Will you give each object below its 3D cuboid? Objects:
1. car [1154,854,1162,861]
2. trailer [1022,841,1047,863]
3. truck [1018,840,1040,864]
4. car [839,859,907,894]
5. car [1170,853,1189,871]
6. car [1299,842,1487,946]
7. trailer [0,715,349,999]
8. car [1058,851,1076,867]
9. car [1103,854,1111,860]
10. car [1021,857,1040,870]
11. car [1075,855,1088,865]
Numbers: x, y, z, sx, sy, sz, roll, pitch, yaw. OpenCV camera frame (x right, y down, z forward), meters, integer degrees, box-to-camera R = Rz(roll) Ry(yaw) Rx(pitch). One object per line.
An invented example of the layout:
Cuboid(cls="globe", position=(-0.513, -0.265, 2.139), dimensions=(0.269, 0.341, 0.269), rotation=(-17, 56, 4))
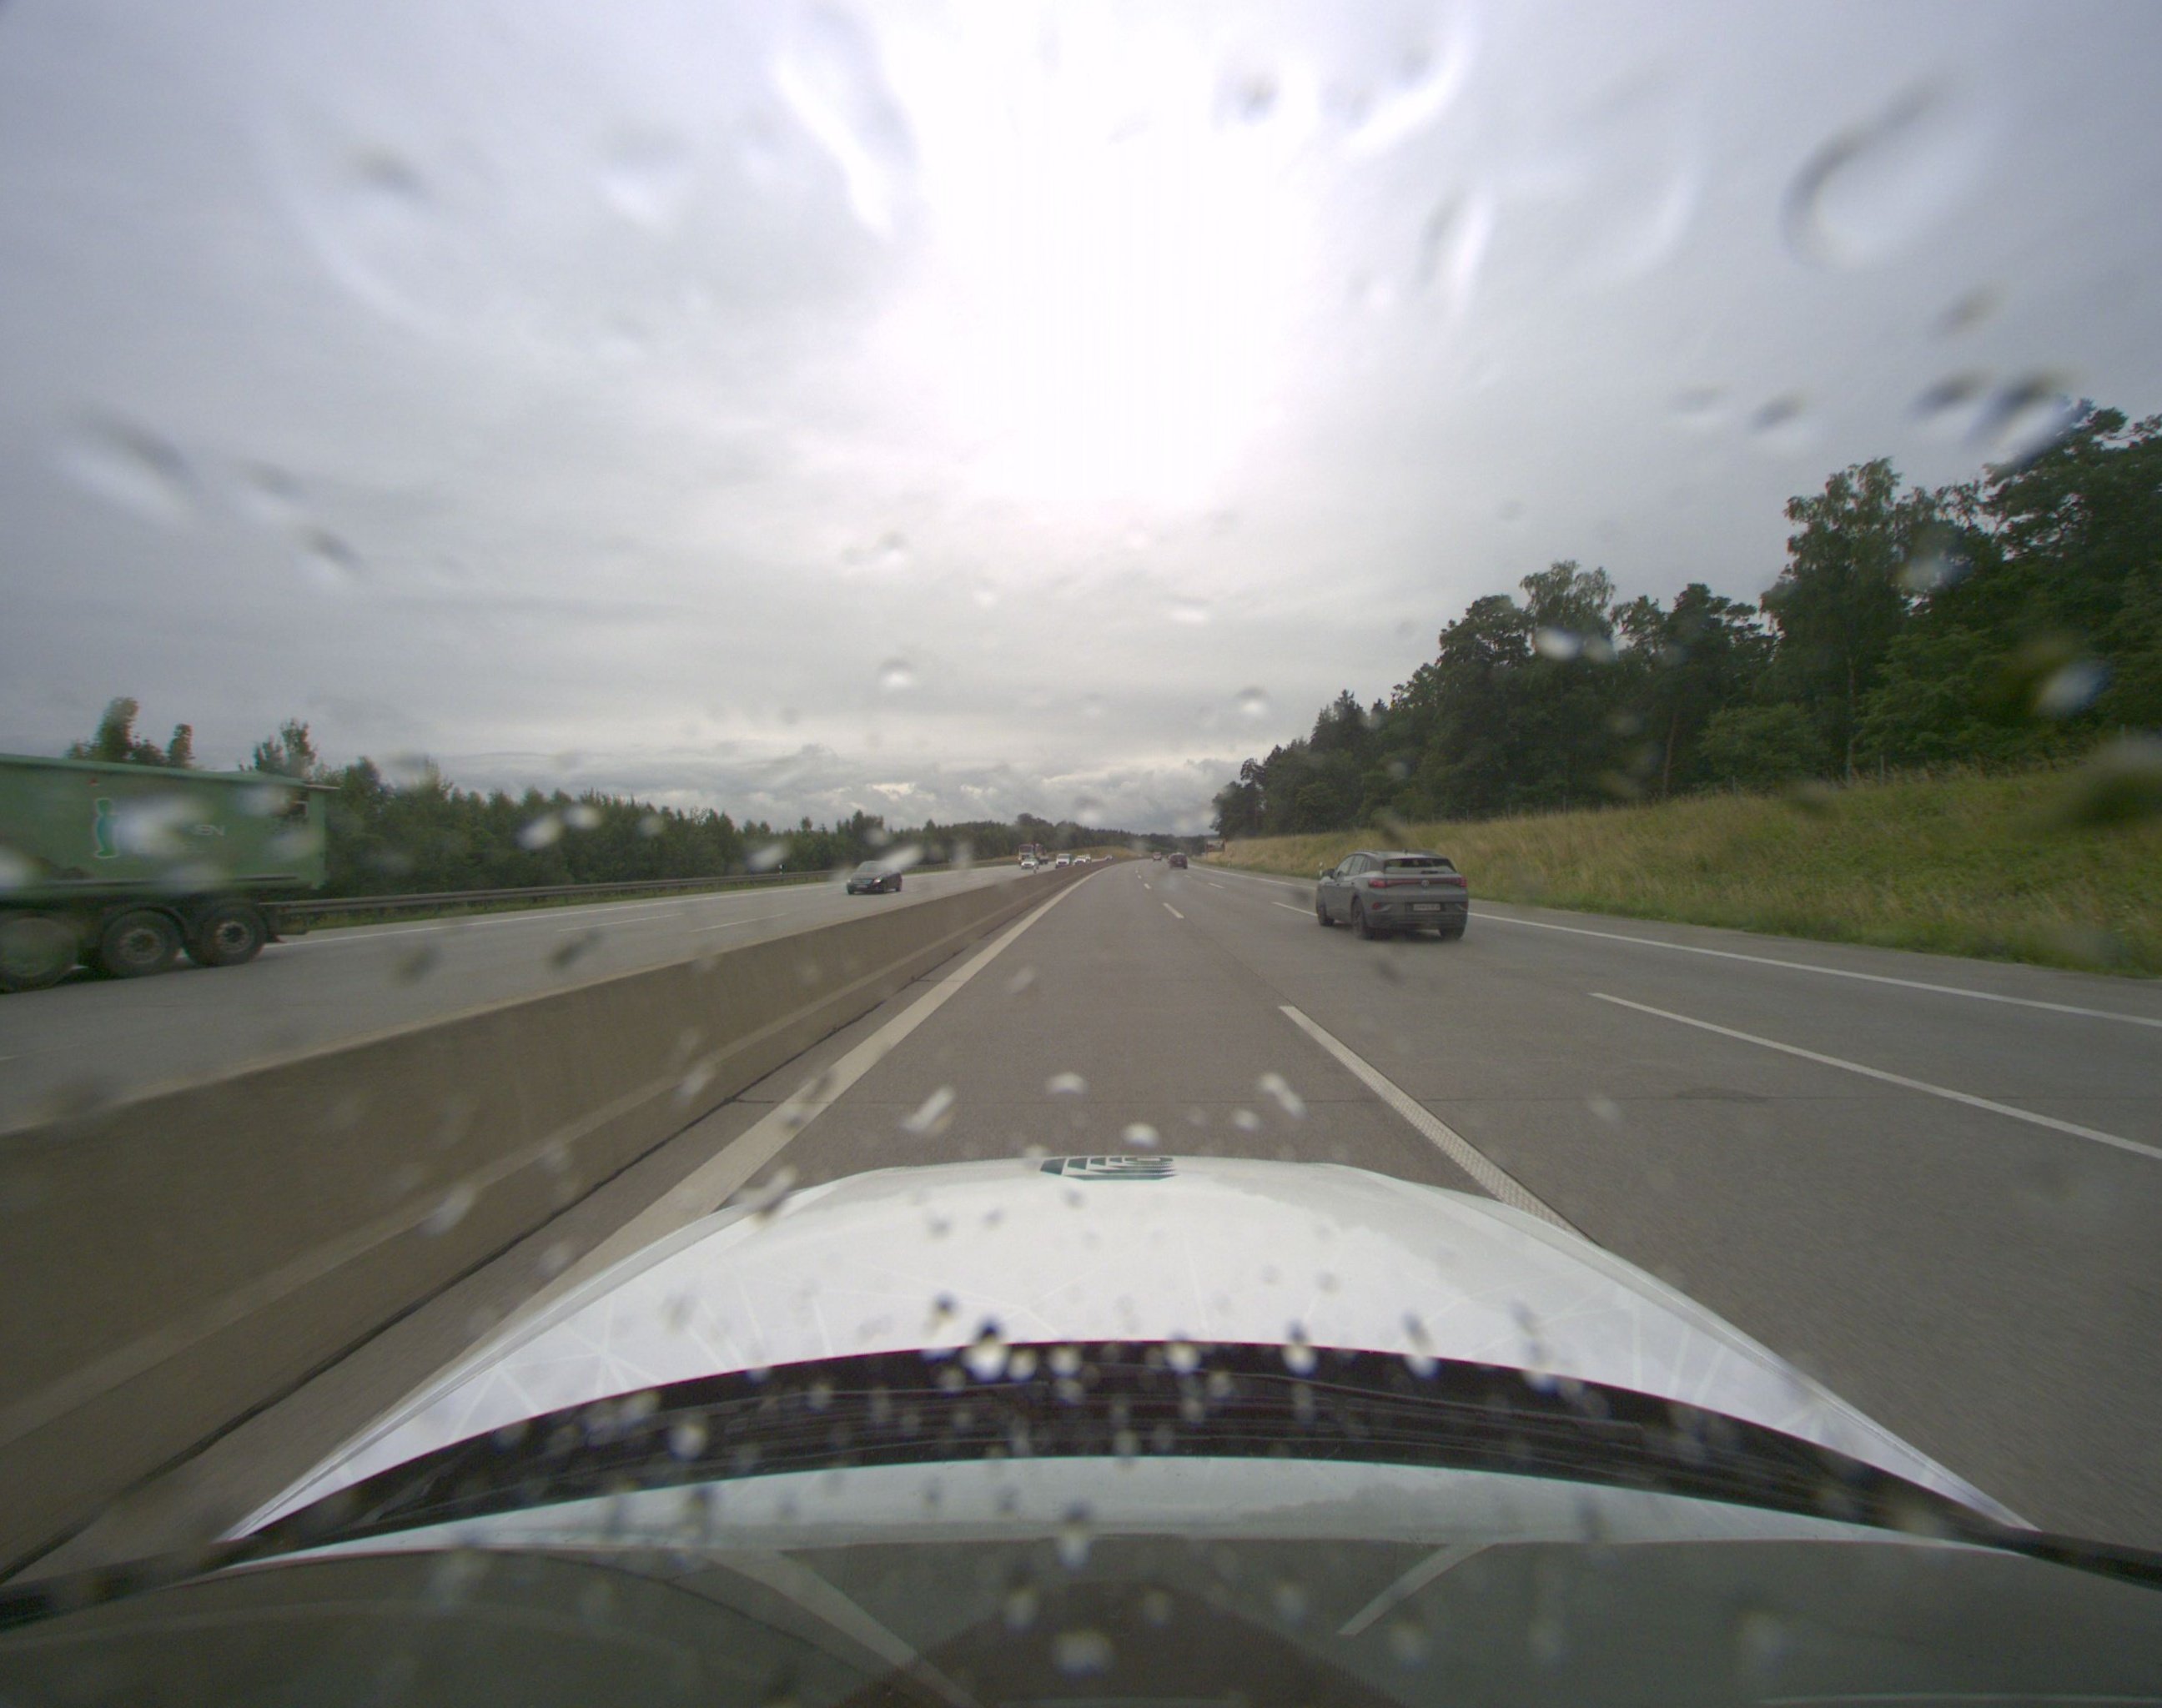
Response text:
Cuboid(cls="car", position=(17.859, 0.776, 188.533), dimensions=(1.832, 1.500, 4.007), rotation=(-4, 1, 6))
Cuboid(cls="trailer", position=(-8.012, -0.338, 142.036), dimensions=(2.575, 3.543, 13.735), rotation=(-2, 0, 3))
Cuboid(cls="truck", position=(-8.468, -0.341, 133.985), dimensions=(2.575, 3.652, 7.667), rotation=(-1, 0, 3))
Cuboid(cls="car", position=(-10.174, 1.053, 40.217), dimensions=(1.986, 1.589, 4.773), rotation=(-1, 0, 2))
Cuboid(cls="car", position=(10.807, 0.812, 89.718), dimensions=(1.777, 1.746, 3.919), rotation=(-4, 1, 3))
Cuboid(cls="car", position=(5.886, 0.628, 16.146), dimensions=(1.890, 1.689, 5.269), rotation=(0, 1, 2))
Cuboid(cls="trailer", position=(-15.825, 0.060, 11.271), dimensions=(2.739, 3.800, 9.319), rotation=(-1, 0, 1))
Cuboid(cls="car", position=(-1.794, 0.640, 106.361), dimensions=(1.985, 2.013, 5.529), rotation=(0, 1, 3))
Cuboid(cls="car", position=(6.516, 0.648, 204.622), dimensions=(1.755, 1.267, 4.496), rotation=(-3, -2, 3))
Cuboid(cls="car", position=(-6.305, 1.201, 101.534), dimensions=(1.729, 1.367, 4.102), rotation=(2, 2, 4))
Cuboid(cls="car", position=(0.072, 0.888, 129.243), dimensions=(1.707, 1.420, 4.219), rotation=(2, 2, 4))
